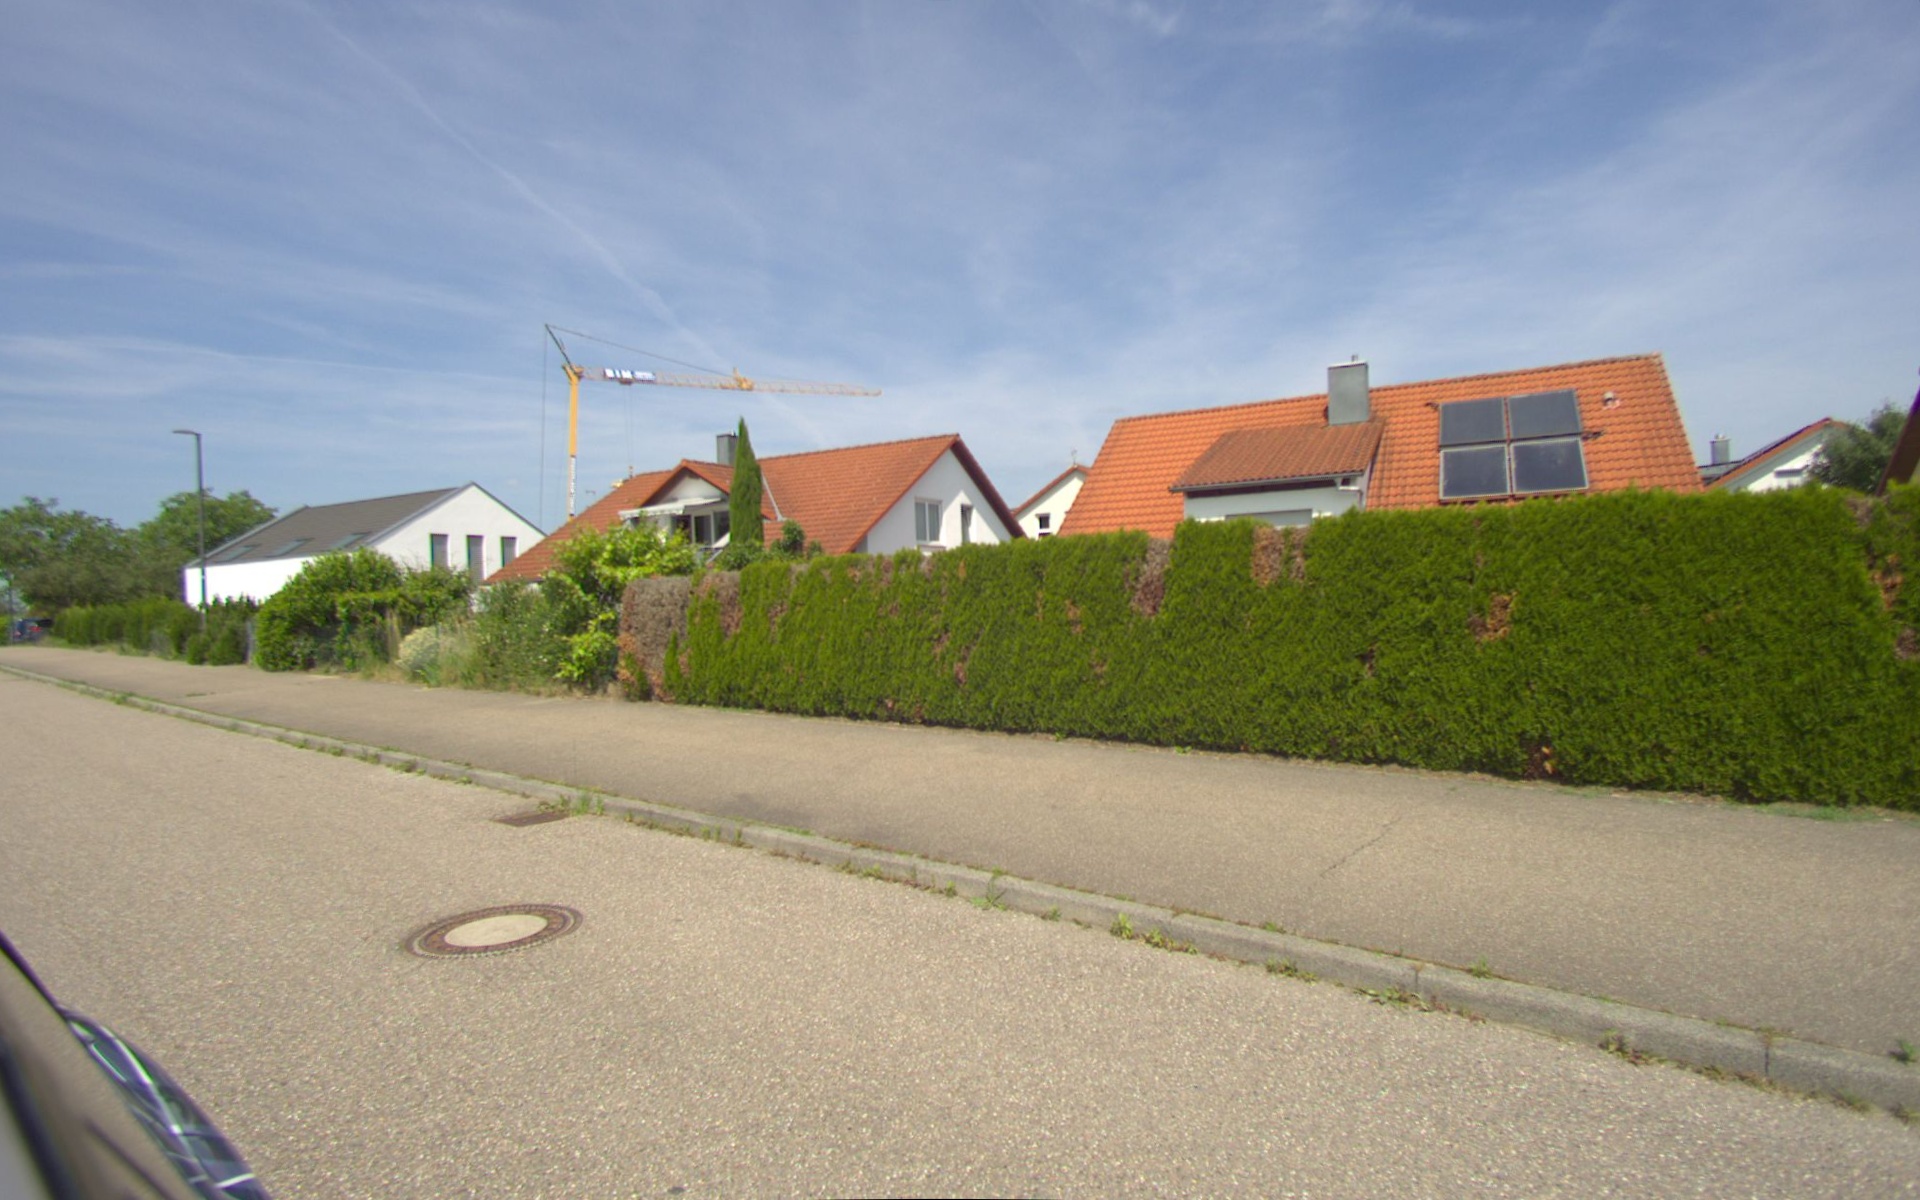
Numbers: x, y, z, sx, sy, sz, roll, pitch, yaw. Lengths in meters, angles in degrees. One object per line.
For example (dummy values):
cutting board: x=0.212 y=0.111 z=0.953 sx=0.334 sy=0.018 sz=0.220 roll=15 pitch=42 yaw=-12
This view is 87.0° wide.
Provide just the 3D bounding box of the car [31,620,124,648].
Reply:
car: x=-49.761 y=1.905 z=57.107 sx=3.832 sy=1.331 sz=1.801 roll=-2 pitch=0 yaw=-45

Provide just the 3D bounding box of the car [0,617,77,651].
car: x=-56.676 y=2.074 z=61.969 sx=3.832 sy=1.826 sz=1.801 roll=-3 pitch=0 yaw=-45
